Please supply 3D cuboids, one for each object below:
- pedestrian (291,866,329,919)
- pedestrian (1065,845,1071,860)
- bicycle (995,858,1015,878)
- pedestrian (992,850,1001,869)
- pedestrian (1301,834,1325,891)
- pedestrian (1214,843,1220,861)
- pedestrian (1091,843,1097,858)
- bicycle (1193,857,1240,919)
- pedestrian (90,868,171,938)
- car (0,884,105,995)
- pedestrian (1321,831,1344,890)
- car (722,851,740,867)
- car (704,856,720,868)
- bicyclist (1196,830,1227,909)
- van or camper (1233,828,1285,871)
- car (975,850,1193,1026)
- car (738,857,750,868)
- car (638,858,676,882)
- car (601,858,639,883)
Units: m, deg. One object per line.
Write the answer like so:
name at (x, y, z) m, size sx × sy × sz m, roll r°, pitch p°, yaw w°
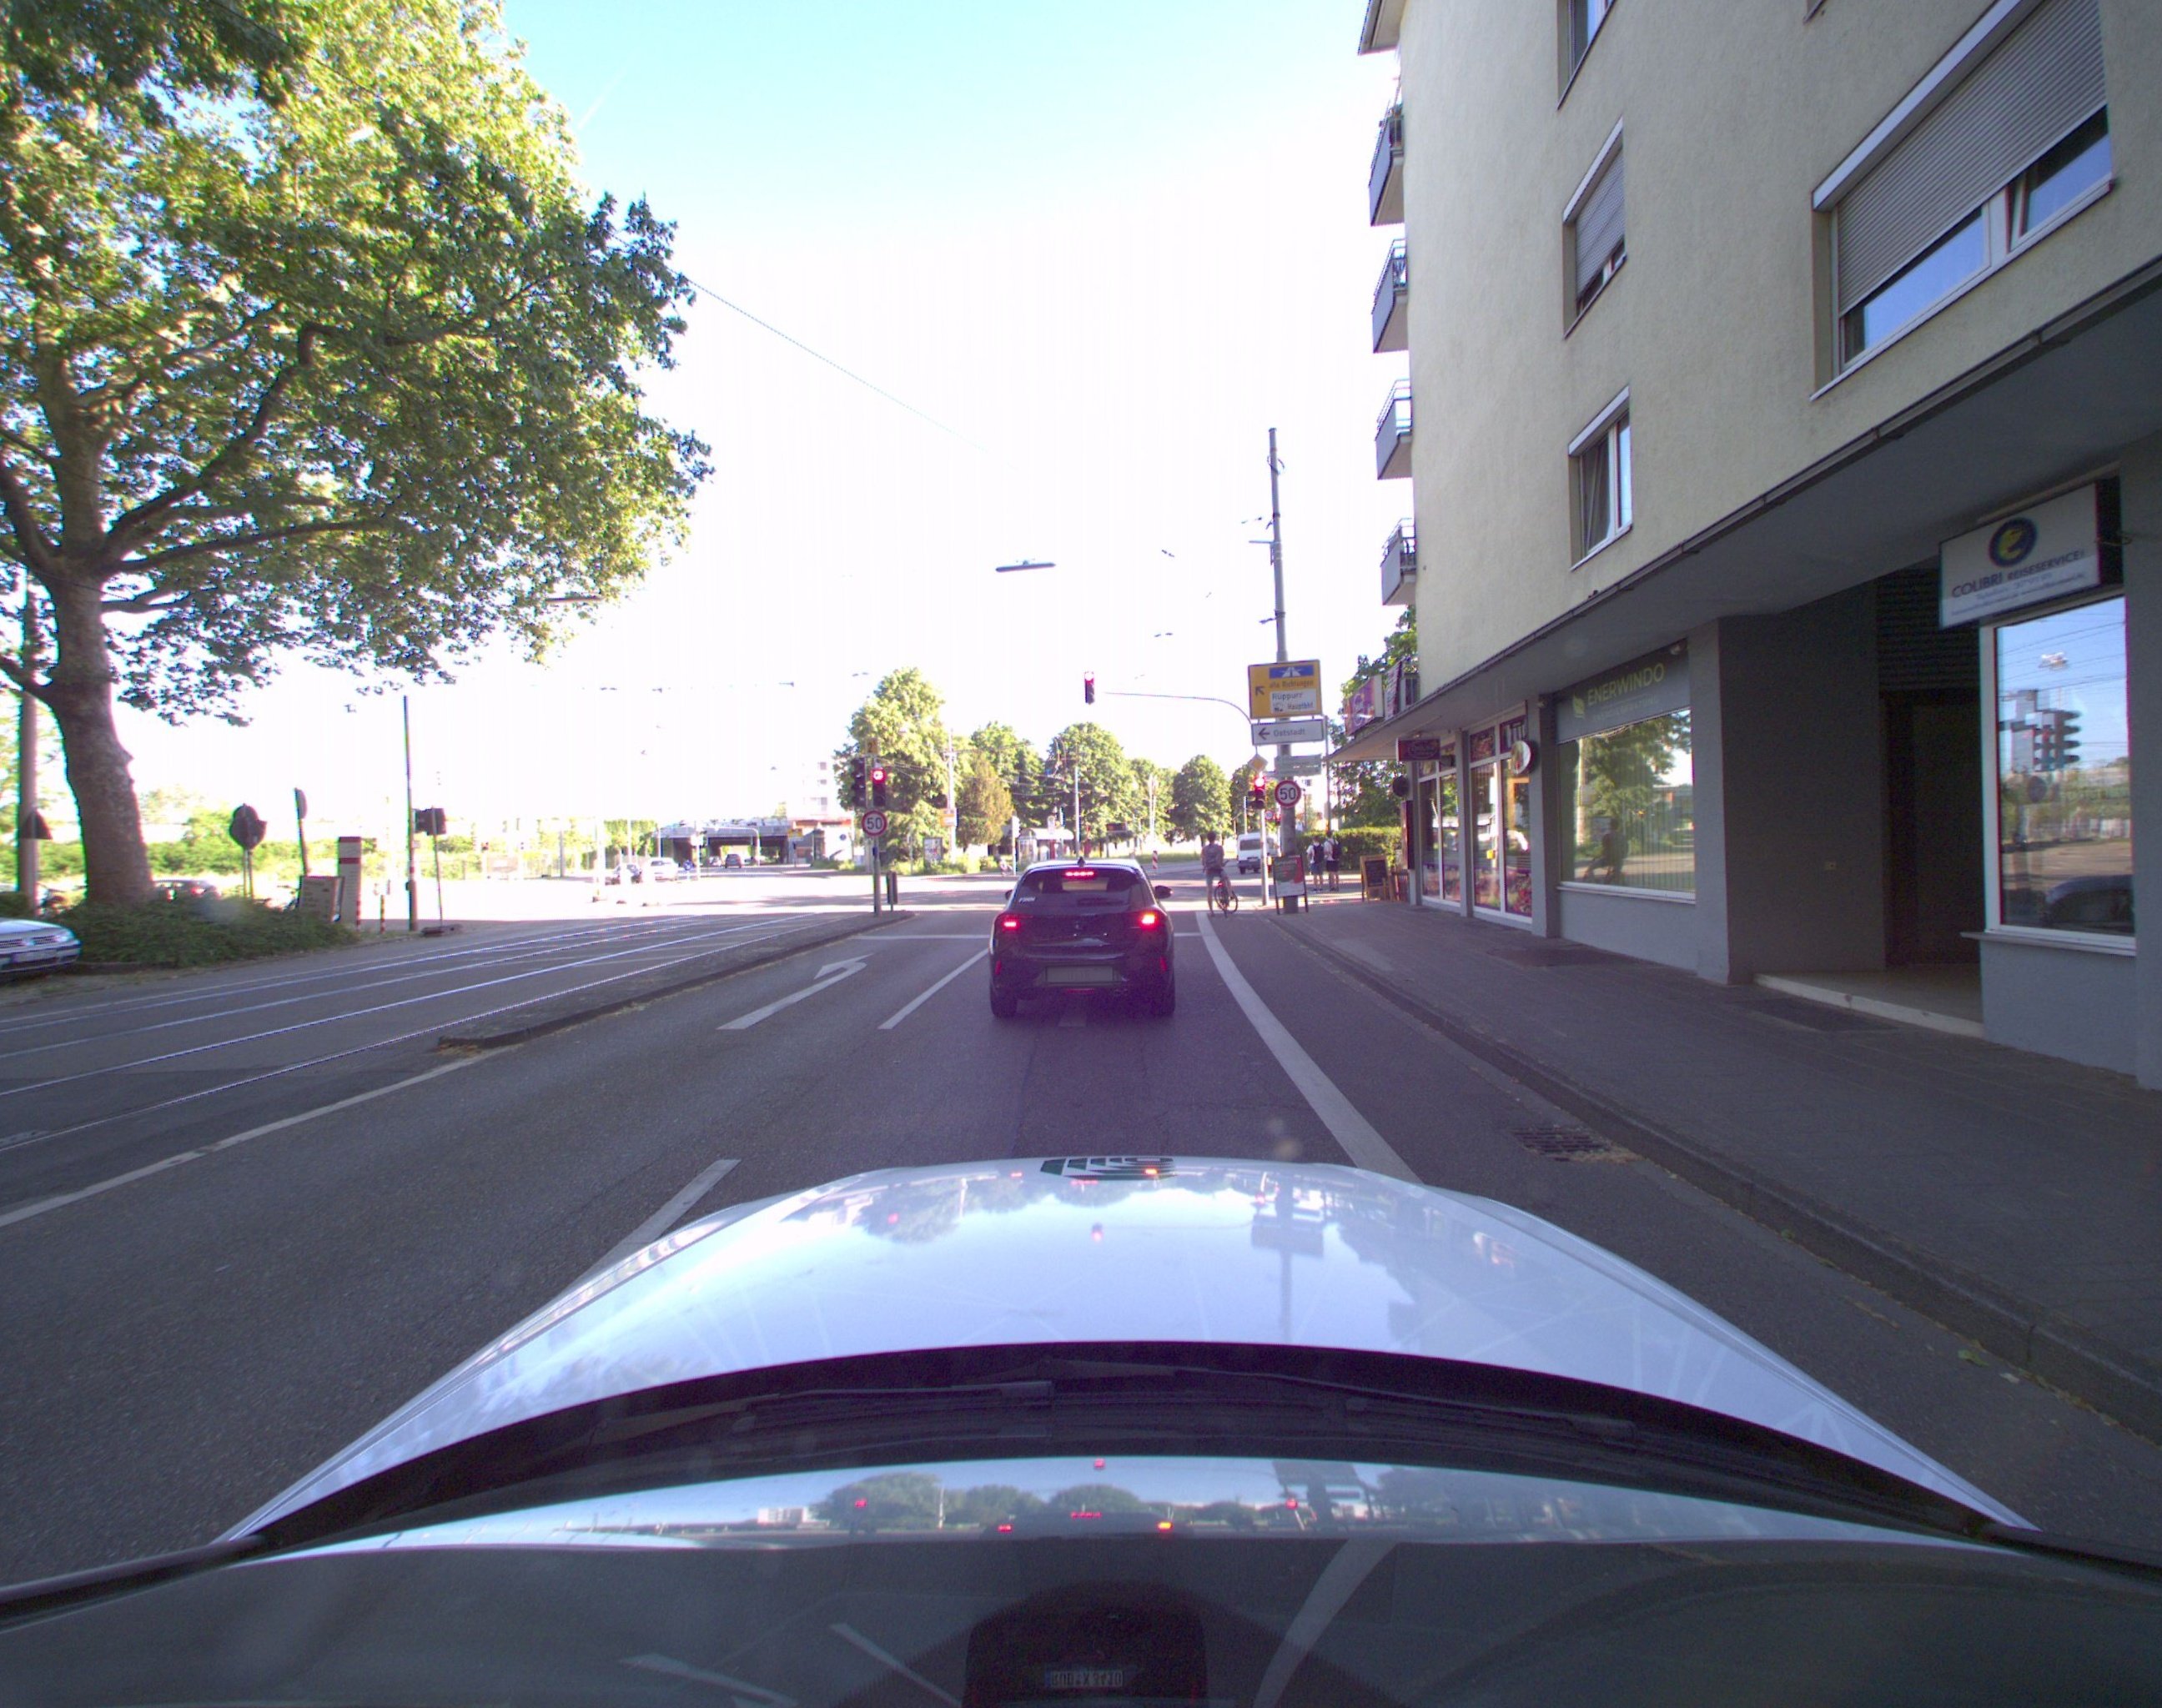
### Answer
pedestrian at (-24.809, 1.209, 26.218) m, size 0.778 × 1.661 × 0.945 m, roll 0°, pitch -1°, yaw -37°
pedestrian at (-1.674, -0.217, 106.357) m, size 0.736 × 1.872 × 0.661 m, roll 0°, pitch -1°, yaw -4°
bicycle at (-4.331, 0.763, 46.547) m, size 0.793 × 1.064 × 2.186 m, roll -2°, pitch 0°, yaw 2°
pedestrian at (-6.613, 0.446, 63.565) m, size 0.568 × 1.472 × 0.666 m, roll -2°, pitch 0°, yaw 2°
pedestrian at (7.277, 0.276, 25.537) m, size 0.627 × 1.763 × 0.585 m, roll -1°, pitch -1°, yaw 22°
pedestrian at (14.559, -0.194, 86.980) m, size 0.600 × 1.872 × 0.521 m, roll -1°, pitch -1°, yaw 8°
pedestrian at (1.563, -0.406, 100.309) m, size 0.616 × 1.872 × 0.521 m, roll -1°, pitch -1°, yaw 9°
bicycle at (3.026, 0.717, 17.975) m, size 0.747 × 1.235 × 2.024 m, roll -2°, pitch 0°, yaw 16°
pedestrian at (-22.879, 1.160, 19.616) m, size 0.842 × 1.647 × 0.931 m, roll 0°, pitch -1°, yaw 1°
car at (-16.631, 1.196, 11.351) m, size 3.957 × 1.453 × 1.670 m, roll -1°, pitch 0°, yaw -1°
pedestrian at (7.863, 0.199, 25.450) m, size 0.627 × 1.820 × 0.749 m, roll -1°, pitch -1°, yaw 22°
car at (-43.883, 0.672, 102.225) m, size 1.916 × 1.881 × 4.809 m, roll -2°, pitch 0°, yaw -22°
car at (-50.983, 1.147, 112.539) m, size 1.892 × 1.585 × 3.809 m, roll 0°, pitch -1°, yaw -21°
bicyclist at (2.867, 0.337, 17.857) m, size 0.529 × 1.692 × 0.571 m, roll -2°, pitch 0°, yaw 19°
van or camper at (10.161, -0.222, 46.155) m, size 2.011 × 2.310 × 4.565 m, roll -1°, pitch -1°, yaw 23°
car at (0.091, 0.704, 8.940) m, size 1.833 × 1.462 × 3.985 m, roll -1°, pitch 0°, yaw 2°
car at (-54.304, 1.395, 131.203) m, size 1.761 × 1.684 × 3.713 m, roll 0°, pitch -1°, yaw -22°
car at (-29.212, 1.065, 56.191) m, size 1.892 × 1.585 × 3.809 m, roll 0°, pitch -1°, yaw -21°
car at (-32.753, 1.168, 57.946) m, size 1.805 × 1.662 × 4.324 m, roll -2°, pitch 0°, yaw -22°
